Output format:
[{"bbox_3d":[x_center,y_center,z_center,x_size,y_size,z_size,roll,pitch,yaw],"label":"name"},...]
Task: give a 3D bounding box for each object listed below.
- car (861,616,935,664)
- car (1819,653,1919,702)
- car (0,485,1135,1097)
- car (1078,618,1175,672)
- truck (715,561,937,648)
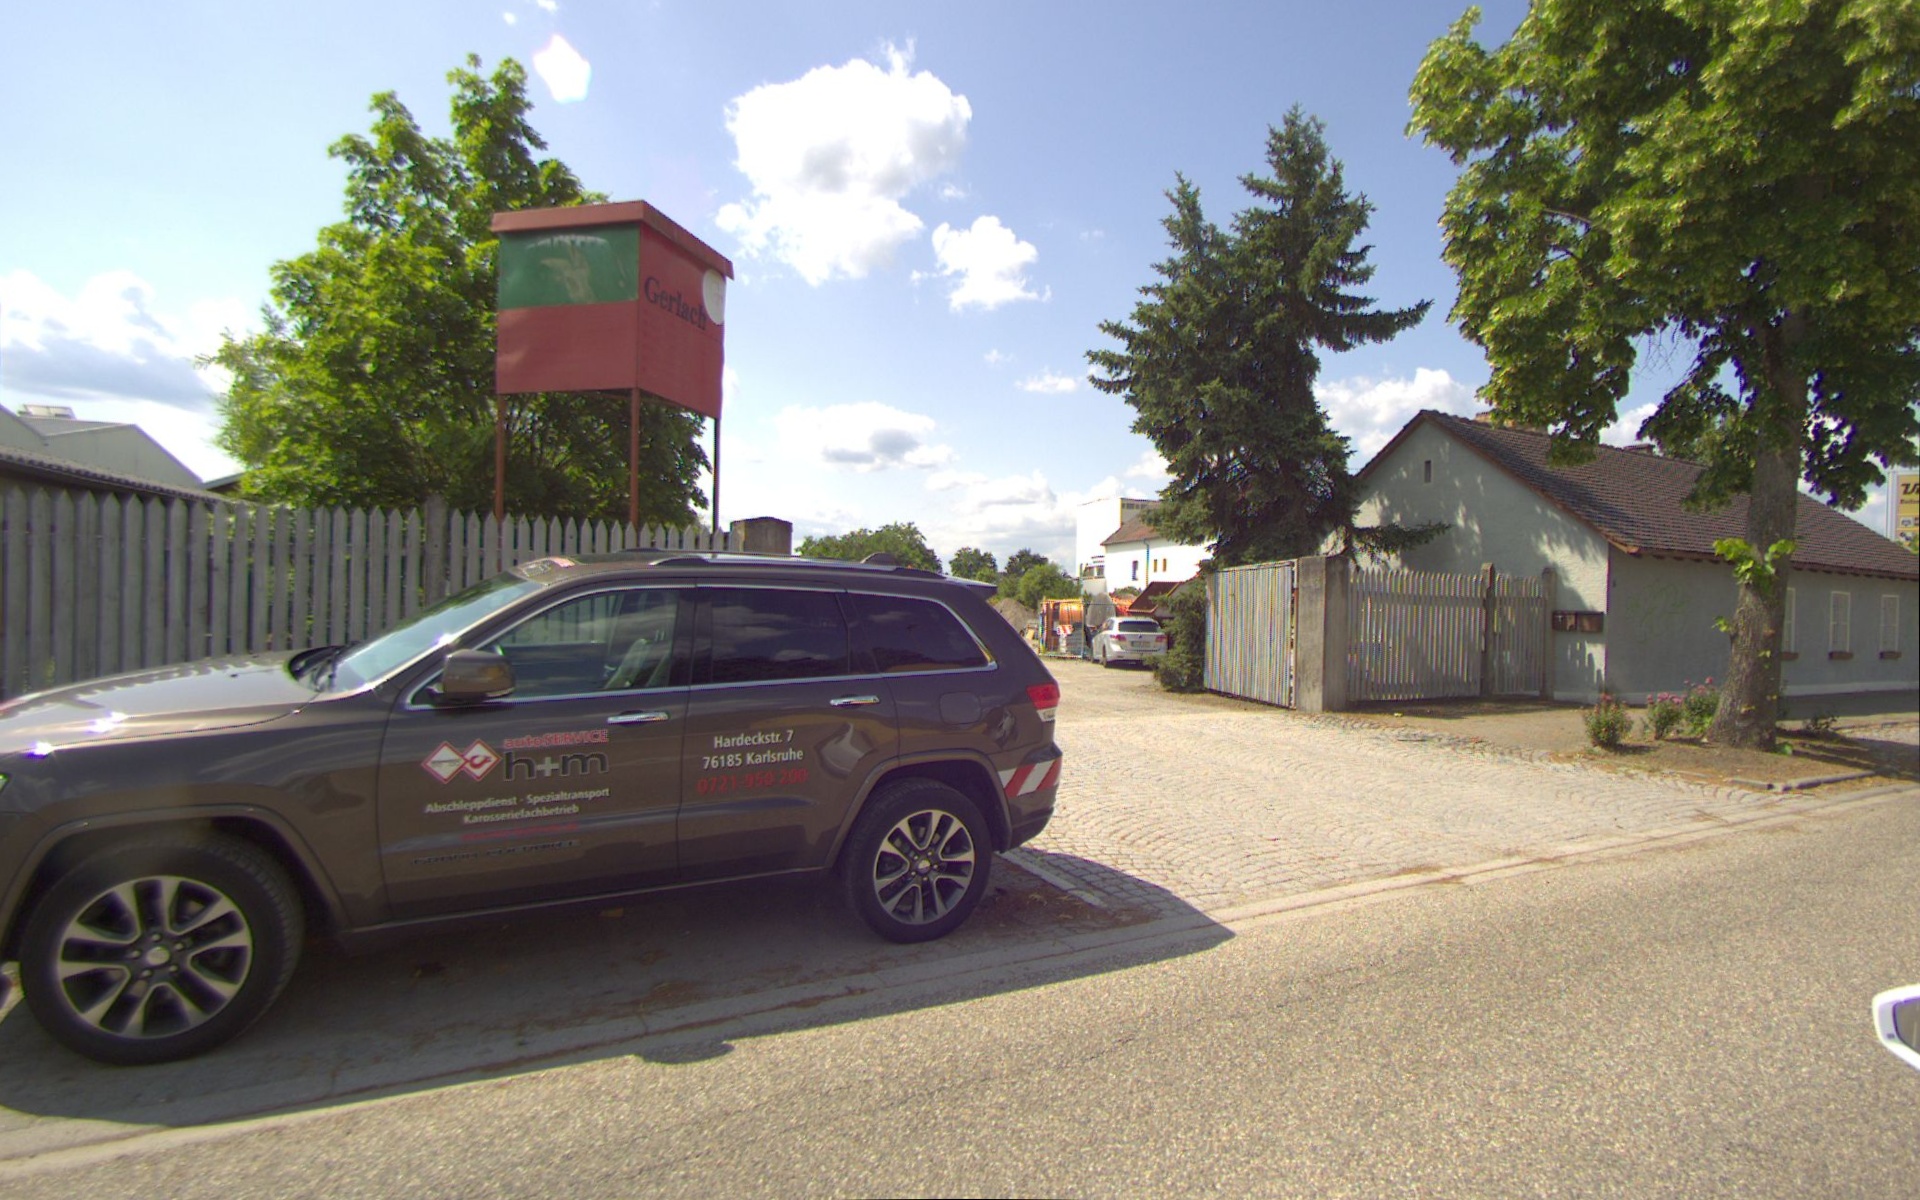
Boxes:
[{"bbox_3d":[-2.021,1.242,31.929,1.563,1.375,3.347,1,-1,-18],"label":"car"},{"bbox_3d":[31.951,2.641,34.147,1.703,1.441,3.834,1,0,-17],"label":"car"},{"bbox_3d":[-1.644,0.615,4.808,4.726,1.846,1.911,2,0,-29],"label":"car"},{"bbox_3d":[4.852,1.288,29.819,1.748,1.434,3.996,1,-1,-7],"label":"car"},{"bbox_3d":[-5.044,0.216,37.998,8.065,3.055,1.992,1,0,-18],"label":"truck"}]
